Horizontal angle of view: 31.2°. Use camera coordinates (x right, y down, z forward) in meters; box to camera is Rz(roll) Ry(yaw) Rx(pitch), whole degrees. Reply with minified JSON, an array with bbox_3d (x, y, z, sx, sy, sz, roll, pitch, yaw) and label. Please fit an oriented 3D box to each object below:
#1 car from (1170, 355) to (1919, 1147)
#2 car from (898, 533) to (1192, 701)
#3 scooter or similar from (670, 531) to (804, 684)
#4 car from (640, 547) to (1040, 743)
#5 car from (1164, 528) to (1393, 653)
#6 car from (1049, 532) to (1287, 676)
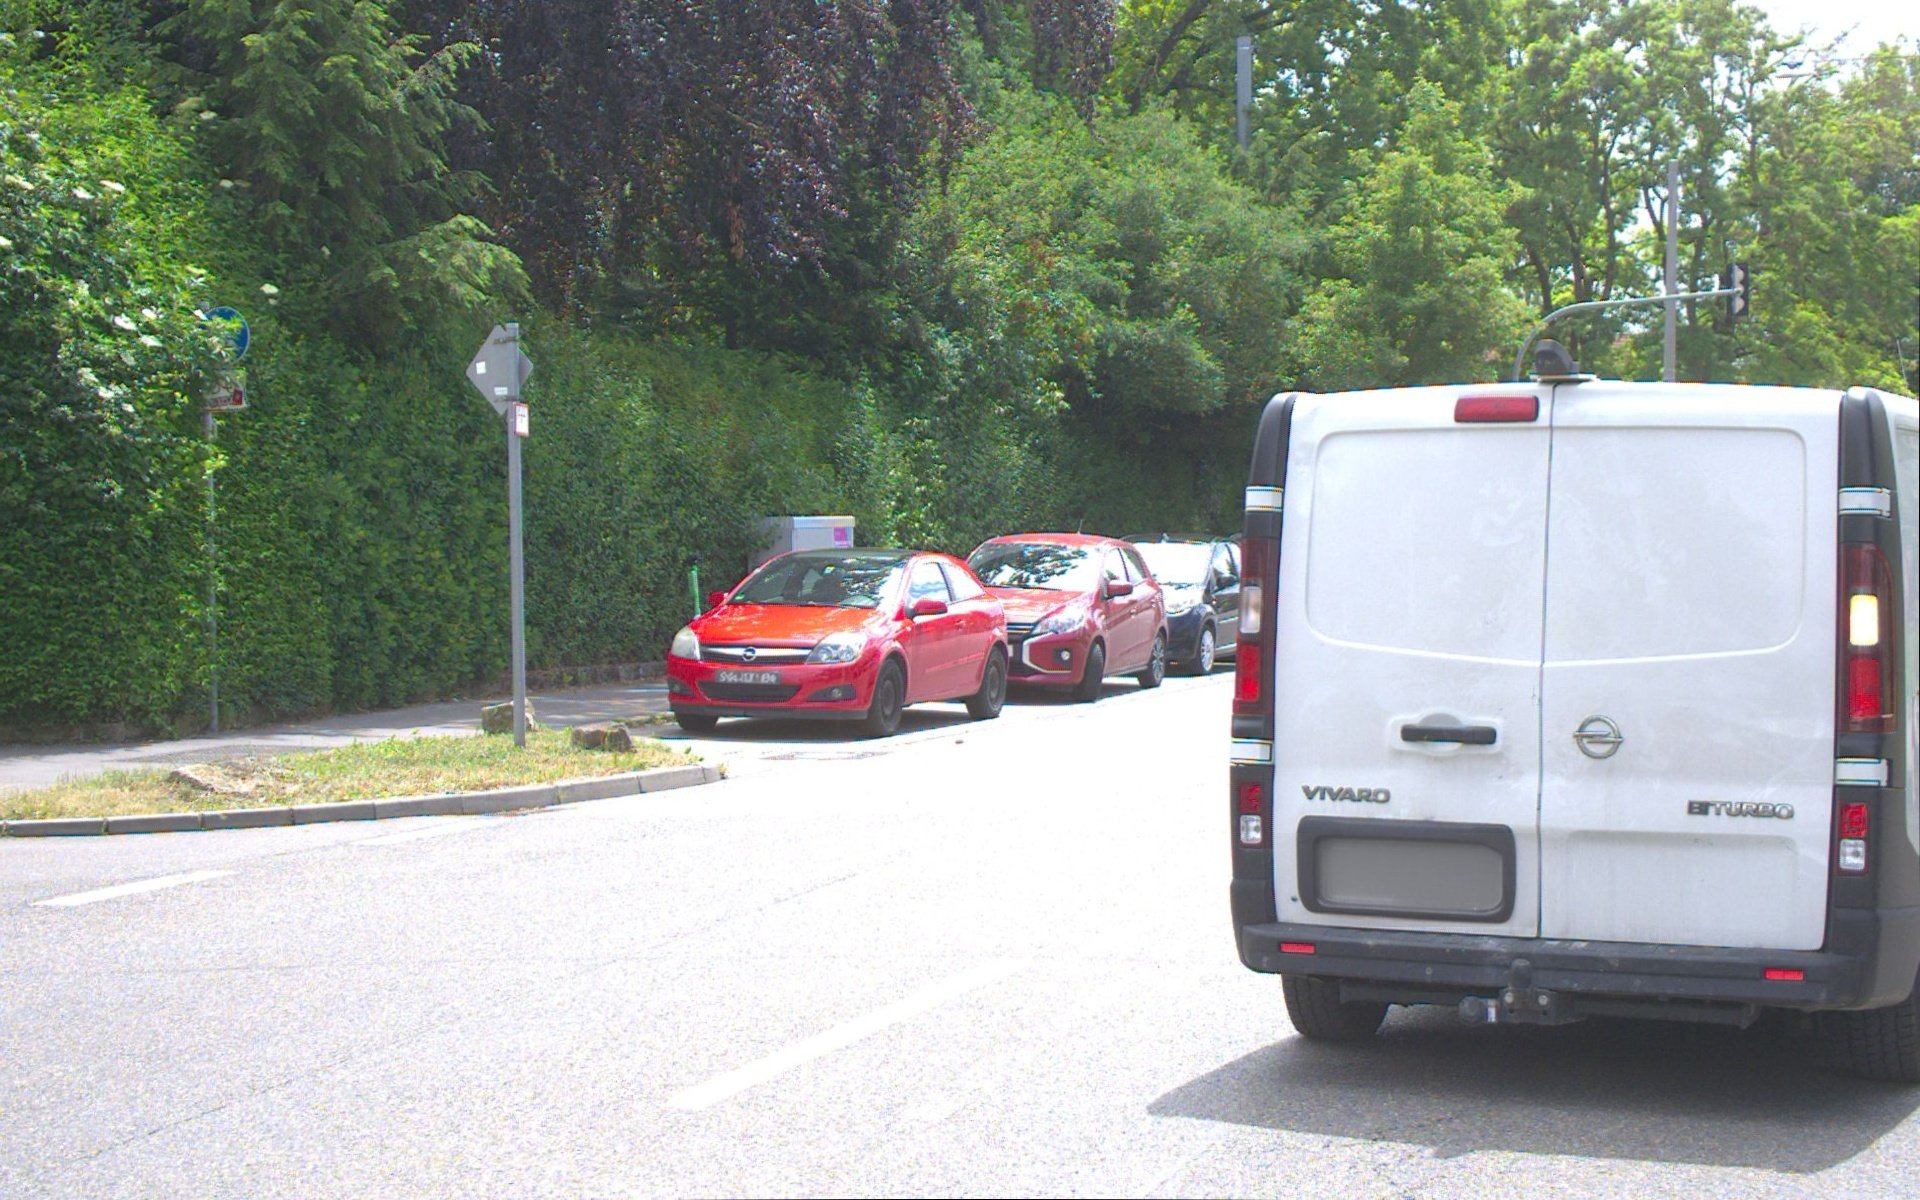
[{"bbox_3d":[2.453,0.302,11.145,1.941,1.954,4.827,2,2,24],"label":"car"},{"bbox_3d":[0.875,0.106,32.436,1.651,1.445,4.101,1,2,18],"label":"car"},{"bbox_3d":[-2.137,0.053,33.081,0.671,1.407,1.647,1,2,20],"label":"scooter or similar"},{"bbox_3d":[-0.846,0.290,27.424,1.662,1.373,4.562,1,2,19],"label":"car"},{"bbox_3d":[3.873,-0.154,41.097,1.696,1.361,4.682,2,2,18],"label":"car"},{"bbox_3d":[2.297,0.003,37.092,1.597,1.445,3.592,1,2,20],"label":"car"}]
